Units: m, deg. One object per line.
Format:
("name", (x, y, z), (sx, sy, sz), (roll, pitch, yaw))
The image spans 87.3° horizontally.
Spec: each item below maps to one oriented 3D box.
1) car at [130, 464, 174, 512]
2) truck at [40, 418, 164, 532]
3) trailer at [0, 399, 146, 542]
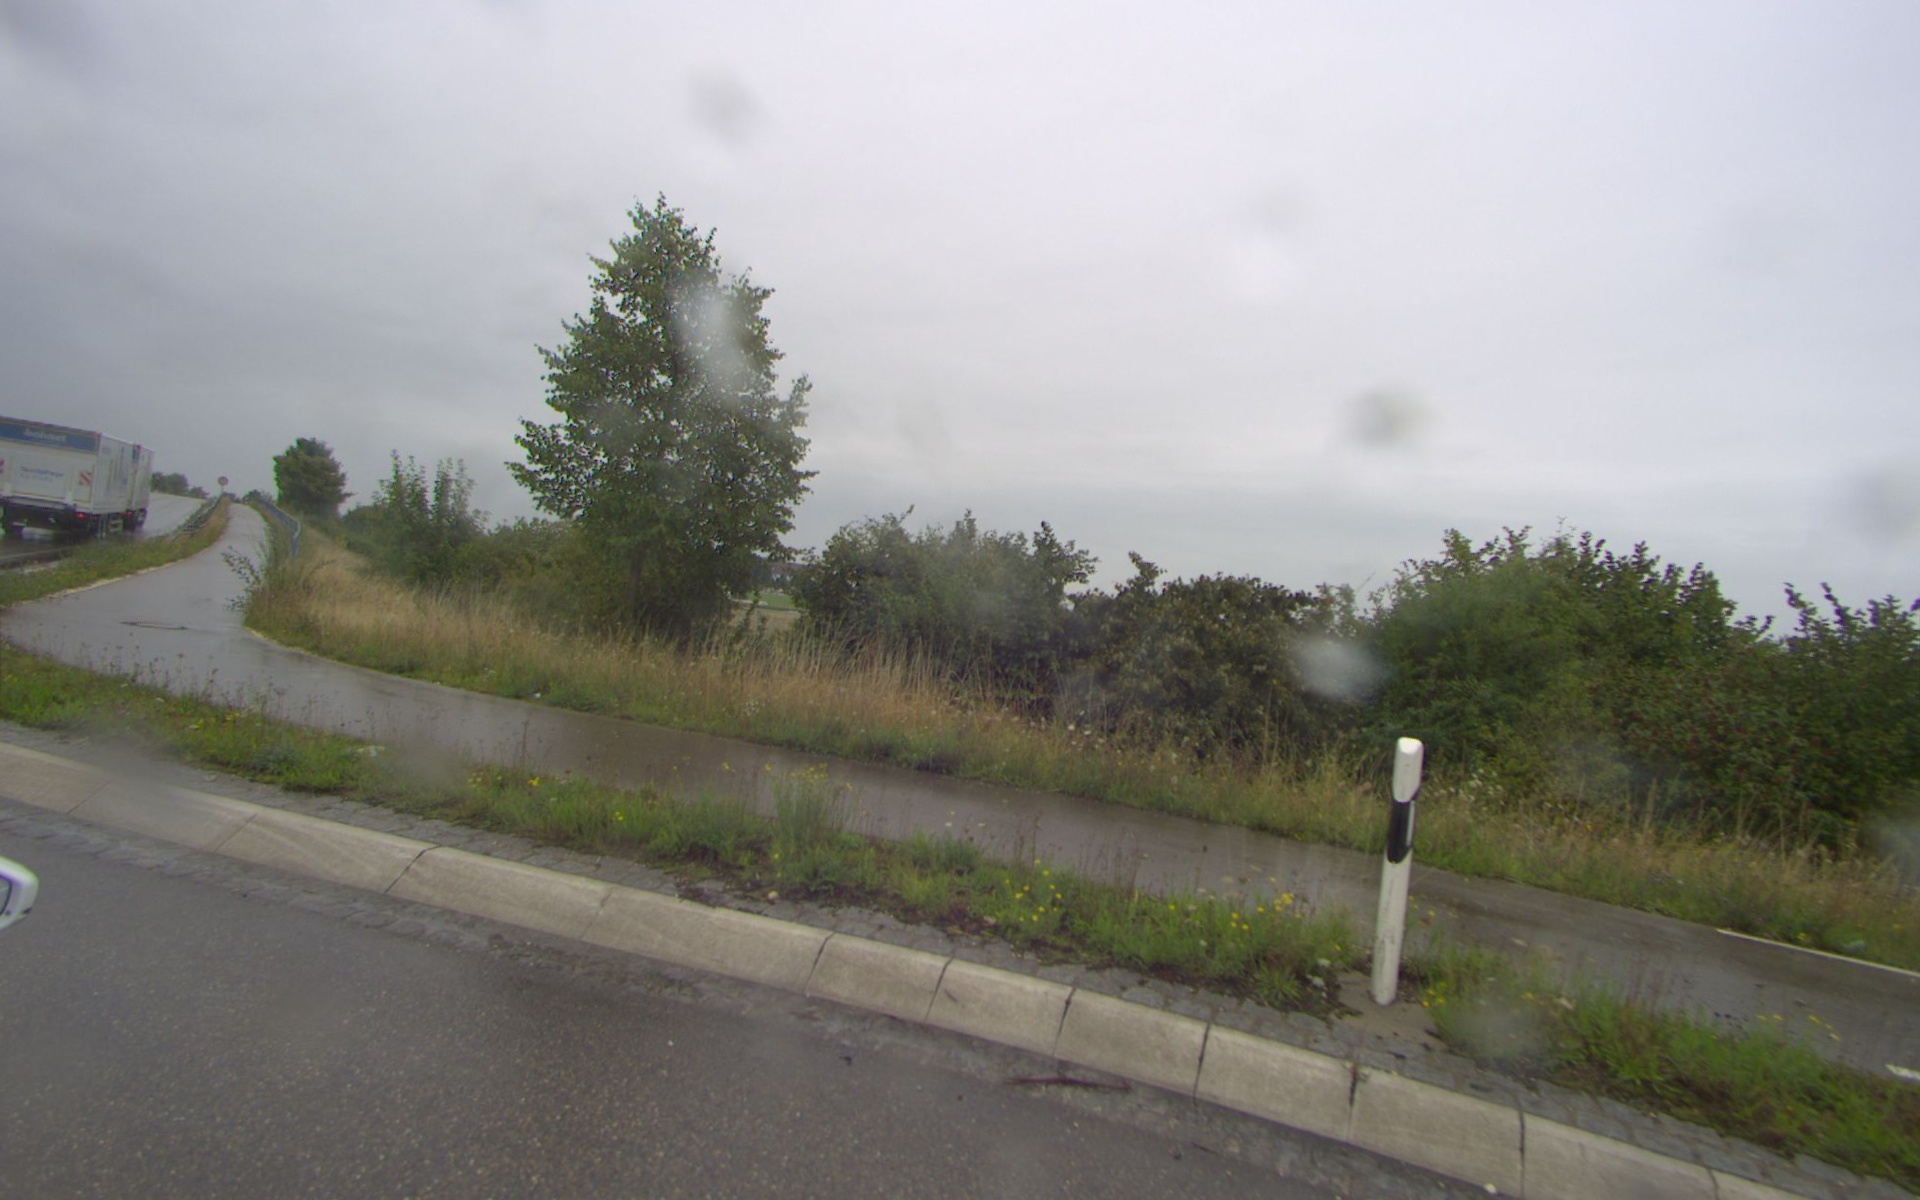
("car", (-57.765, -7.973, 71.966), (1.983, 2.977, 3.960), (8, 0, -36))
("truck", (-35.059, -4.979, 41.384), (2.782, 3.867, 7.615), (6, 1, -35))
("trailer", (-30.245, -4.228, 34.278), (2.814, 3.867, 9.622), (6, 1, -34))
